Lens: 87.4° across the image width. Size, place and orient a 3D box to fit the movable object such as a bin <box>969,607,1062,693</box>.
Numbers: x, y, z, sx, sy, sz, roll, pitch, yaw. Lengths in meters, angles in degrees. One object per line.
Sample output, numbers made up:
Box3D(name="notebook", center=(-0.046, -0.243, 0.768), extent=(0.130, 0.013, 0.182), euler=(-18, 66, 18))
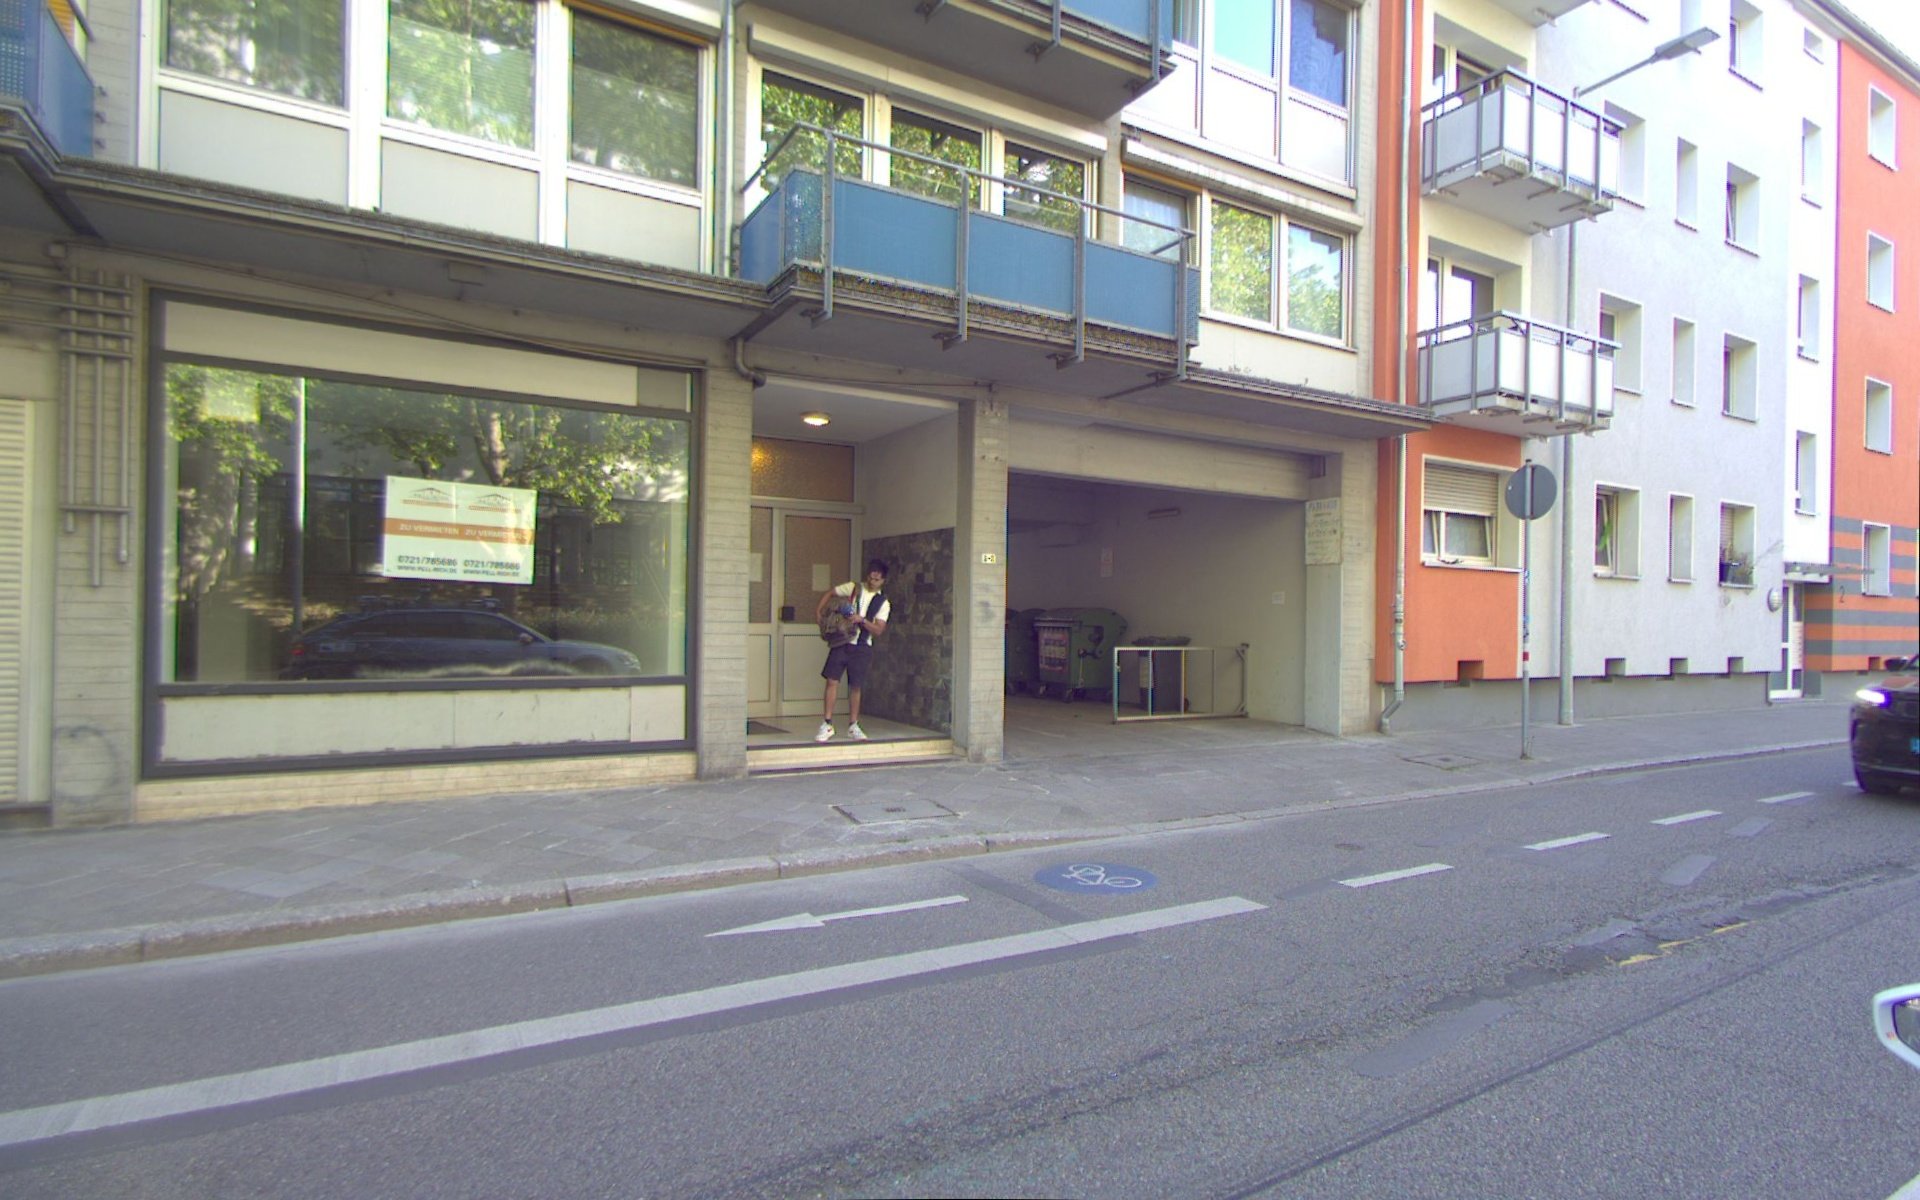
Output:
Box3D(name="movable object such as a bin", center=(0.935, 0.834, 17.121), extent=(1.066, 1.384, 1.255), euler=(2, 0, -27))

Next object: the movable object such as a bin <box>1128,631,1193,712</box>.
Box3D(name="movable object such as a bin", center=(2.877, 1.017, 14.456), extent=(0.650, 1.115, 0.626), euler=(2, 0, -27))

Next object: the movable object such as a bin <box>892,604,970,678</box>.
Box3D(name="movable object such as a bin", center=(-0.584, 0.800, 19.860), extent=(1.066, 1.384, 1.255), euler=(2, 0, -27))

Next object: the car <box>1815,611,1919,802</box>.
Box3D(name="car", center=(10.090, 0.971, 9.395), extent=(4.334, 1.591, 1.841), euler=(2, 0, -30))

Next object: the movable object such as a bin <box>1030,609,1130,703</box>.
Box3D(name="movable object such as a bin", center=(1.876, 0.858, 15.807), extent=(1.066, 1.384, 1.192), euler=(2, 0, -27))

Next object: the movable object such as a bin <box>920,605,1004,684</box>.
Box3D(name="movable object such as a bin", center=(0.024, 0.813, 18.690), extent=(1.066, 1.384, 1.255), euler=(2, 0, -27))

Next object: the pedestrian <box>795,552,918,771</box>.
Box3D(name="pedestrian", center=(-0.961, 0.544, 9.249), extent=(0.882, 1.902, 0.703), euler=(2, 0, -28))
